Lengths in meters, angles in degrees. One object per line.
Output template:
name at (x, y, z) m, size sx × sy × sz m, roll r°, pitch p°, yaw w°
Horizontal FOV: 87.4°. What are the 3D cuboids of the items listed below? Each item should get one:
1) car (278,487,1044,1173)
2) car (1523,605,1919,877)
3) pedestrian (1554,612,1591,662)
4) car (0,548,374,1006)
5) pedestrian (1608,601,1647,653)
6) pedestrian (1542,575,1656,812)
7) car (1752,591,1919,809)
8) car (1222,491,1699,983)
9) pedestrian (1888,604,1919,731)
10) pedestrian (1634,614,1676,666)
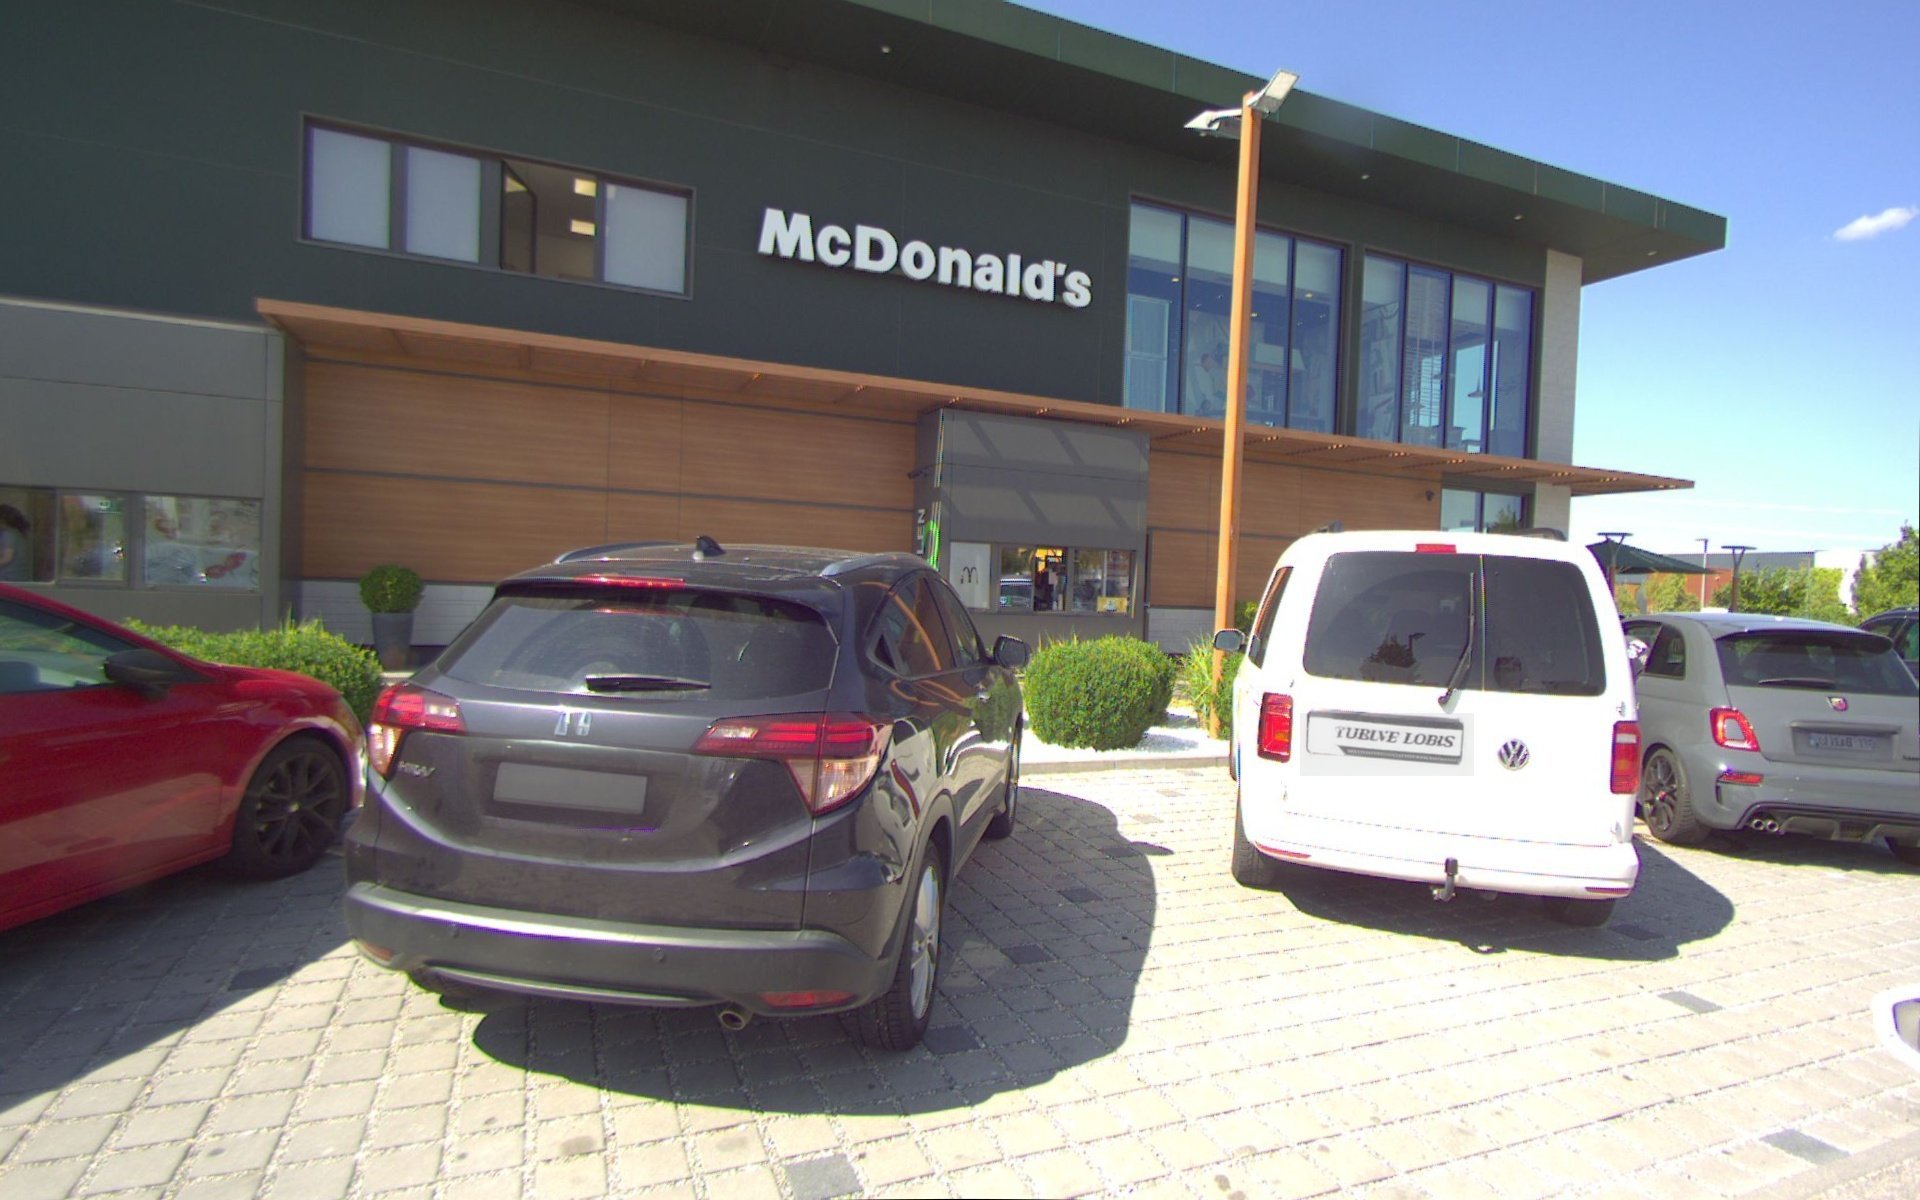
car at (-0.672, 0.555, 4.492) m, size 1.722 × 1.654 × 3.847 m, roll 2°, pitch 0°, yaw 10°
car at (5.566, 0.821, 7.489) m, size 1.536 × 1.502 × 3.416 m, roll 2°, pitch 1°, yaw 15°
pedestrian at (15.844, 0.954, 25.985) m, size 0.706 × 1.275 × 0.520 m, roll 1°, pitch 1°, yaw -27°
car at (-3.879, 0.540, 3.113) m, size 1.641 × 1.463 × 3.774 m, roll 2°, pitch 1°, yaw 5°
pedestrian at (16.413, 0.662, 24.701) m, size 0.626 × 1.275 × 0.520 m, roll 1°, pitch 1°, yaw -27°
pedestrian at (4.825, 0.679, 7.613) m, size 0.601 × 1.707 × 0.443 m, roll 2°, pitch 0°, yaw 22°
car at (8.748, 0.832, 8.628) m, size 1.756 × 1.625 × 4.226 m, roll 4°, pitch 3°, yaw 21°
car at (2.570, 0.537, 6.215) m, size 1.723 × 1.947 × 4.147 m, roll 2°, pitch 0°, yaw 14°
pedestrian at (12.501, 0.866, 12.760) m, size 0.729 × 1.605 × 0.727 m, roll 1°, pitch 1°, yaw -13°
pedestrian at (17.319, 0.991, 25.043) m, size 0.720 × 1.275 × 0.569 m, roll 1°, pitch 1°, yaw -28°
